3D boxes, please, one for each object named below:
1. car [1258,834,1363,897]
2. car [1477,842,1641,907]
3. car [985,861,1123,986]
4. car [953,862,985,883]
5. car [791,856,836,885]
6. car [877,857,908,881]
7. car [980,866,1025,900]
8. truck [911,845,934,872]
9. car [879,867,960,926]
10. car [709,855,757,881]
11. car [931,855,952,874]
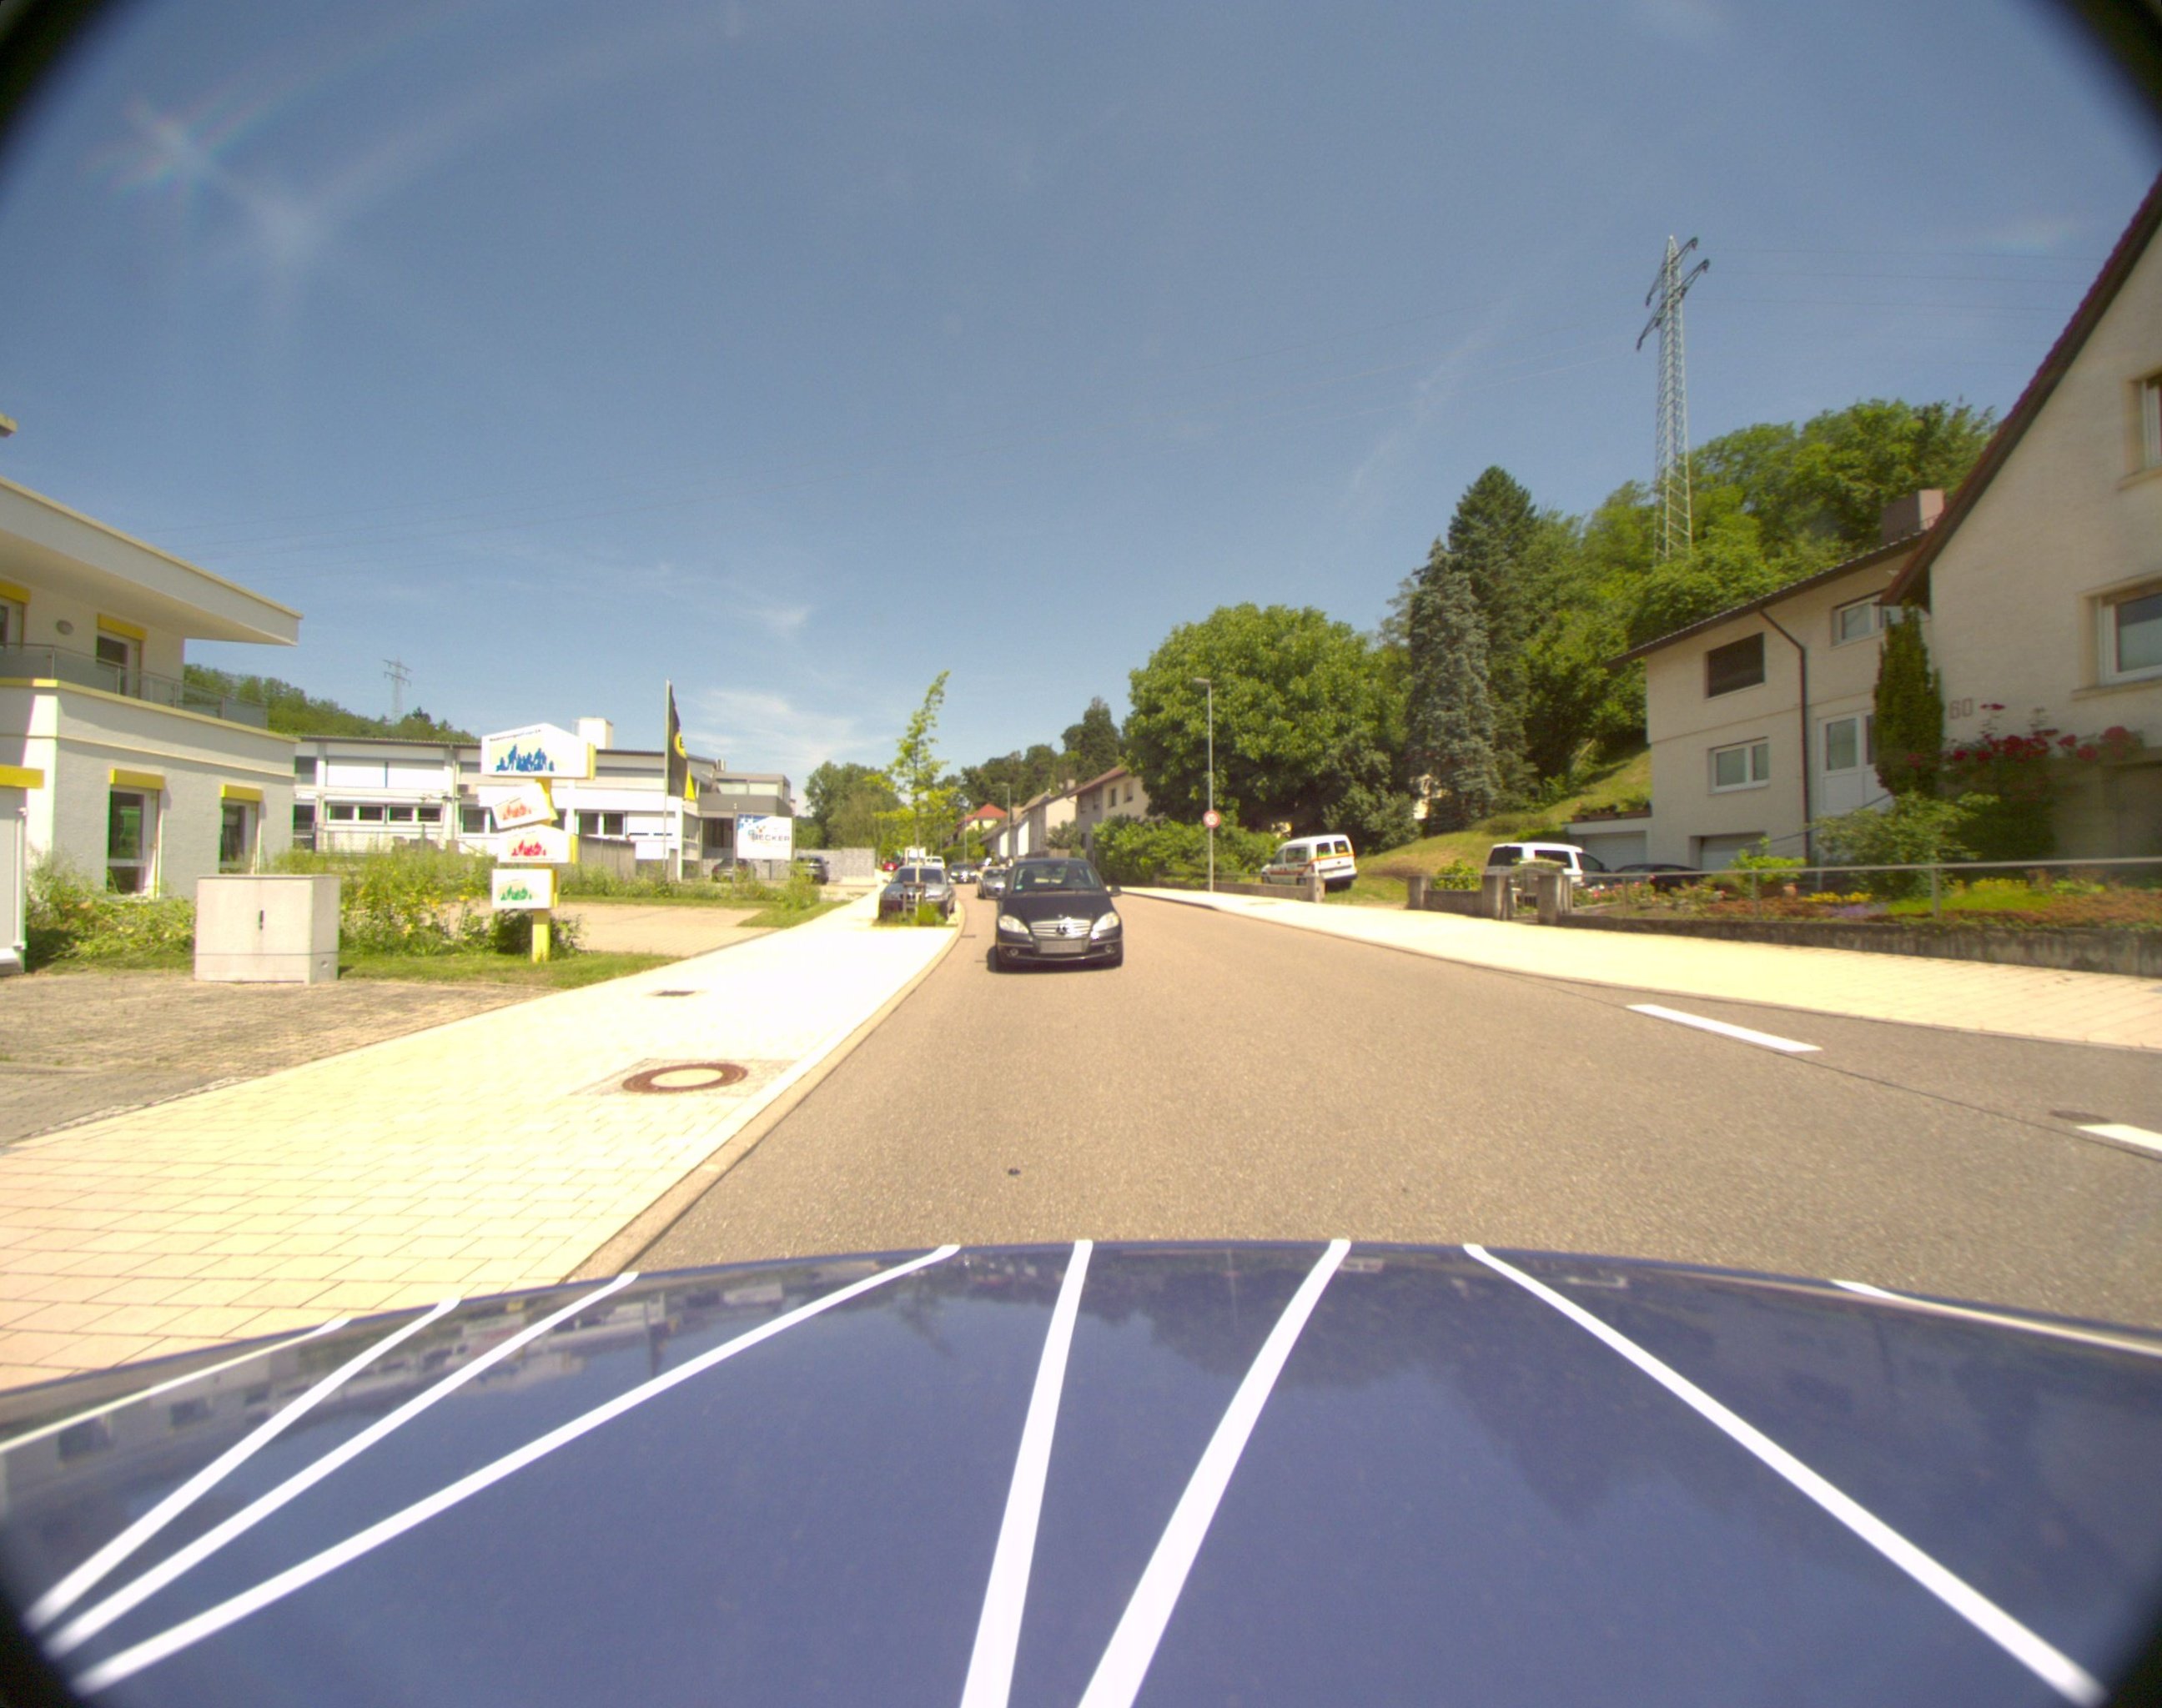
[{"bbox_3d":[7.638,0.370,25.717,1.705,1.937,3.996,-1,0,-12],"label":"car"},{"bbox_3d":[13.986,0.639,22.286,4.003,1.778,1.809,1,-4,-16],"label":"car"},{"bbox_3d":[-0.410,0.930,11.962,1.790,1.595,4.074,-1,0,-2],"label":"car"},{"bbox_3d":[-7.675,1.219,51.924,1.912,1.341,3.996,-1,0,-11],"label":"car"},{"bbox_3d":[-15.094,0.886,43.003,2.001,1.477,3.995,2,-1,-14],"label":"car"},{"bbox_3d":[-12.443,0.979,49.944,1.654,1.520,3.858,-1,0,-19],"label":"car"},{"bbox_3d":[-3.288,1.144,31.237,1.668,1.253,3.549,-1,0,-8],"label":"car"},{"bbox_3d":[-21.017,0.571,101.000,2.809,3.394,8.111,1,0,-11],"label":"truck"},{"bbox_3d":[-4.246,1.071,20.515,1.676,1.368,3.998,1,0,-5],"label":"car"},{"bbox_3d":[-19.249,0.754,42.209,1.746,1.357,3.836,-1,0,-14],"label":"car"},{"bbox_3d":[-13.818,1.029,74.990,1.970,1.823,4.460,1,0,-11],"label":"car"}]
